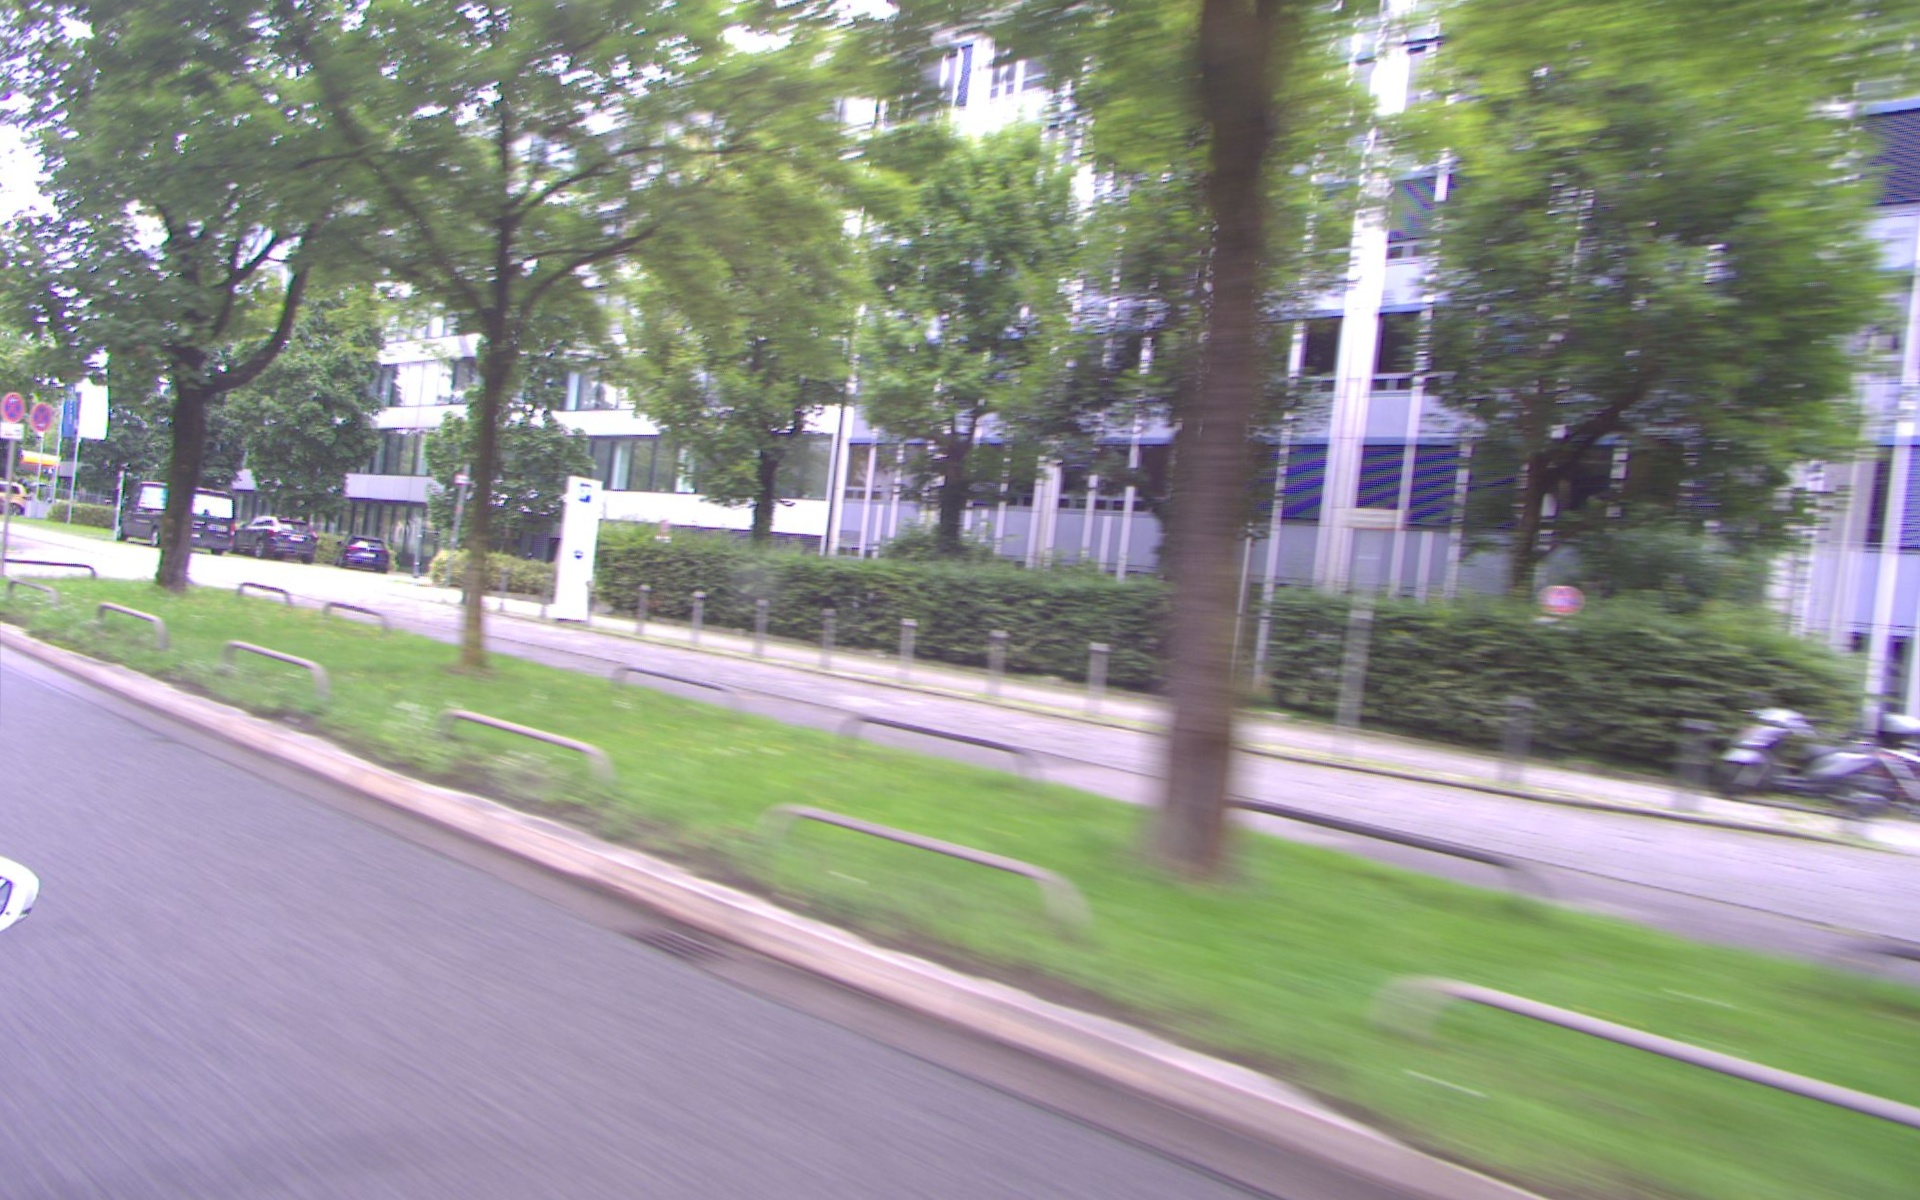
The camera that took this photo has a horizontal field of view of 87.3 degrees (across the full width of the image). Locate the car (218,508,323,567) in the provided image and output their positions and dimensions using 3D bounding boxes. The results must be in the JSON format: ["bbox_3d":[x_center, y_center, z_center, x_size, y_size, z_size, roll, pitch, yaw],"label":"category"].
[{"bbox_3d":[-27.333,-2.476,39.842,4.399,1.841,1.843,7,1,33],"label":"car"}]

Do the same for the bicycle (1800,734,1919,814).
[{"bbox_3d":[13.178,2.510,14.288,1.744,0.864,0.559,8,2,31],"label":"bicycle"}]

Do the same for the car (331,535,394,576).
[{"bbox_3d":[-24.988,-1.871,42.049,1.773,1.390,3.925,8,-1,-36],"label":"car"}]

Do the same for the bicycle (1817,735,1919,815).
[{"bbox_3d":[12.950,2.452,13.679,1.803,0.864,0.553,8,2,31],"label":"bicycle"}]

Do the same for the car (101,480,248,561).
[{"bbox_3d":[-28.745,-2.921,36.736,6.167,2.336,2.266,7,1,33],"label":"car"}]

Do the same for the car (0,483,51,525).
[{"bbox_3d":[-56.845,-5.842,58.501,2.113,2.109,5.473,7,-1,34],"label":"car"}]

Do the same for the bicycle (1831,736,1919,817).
[{"bbox_3d":[12.584,2.371,13.007,1.803,0.864,0.683,8,1,31],"label":"bicycle"}]

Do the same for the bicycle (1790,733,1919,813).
[{"bbox_3d":[13.461,2.571,14.810,1.744,0.864,0.559,8,2,31],"label":"bicycle"}]

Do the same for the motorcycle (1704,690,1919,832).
[{"bbox_3d":[10.317,1.900,12.075,2.035,1.335,0.550,7,1,20],"label":"motorcycle"}]
